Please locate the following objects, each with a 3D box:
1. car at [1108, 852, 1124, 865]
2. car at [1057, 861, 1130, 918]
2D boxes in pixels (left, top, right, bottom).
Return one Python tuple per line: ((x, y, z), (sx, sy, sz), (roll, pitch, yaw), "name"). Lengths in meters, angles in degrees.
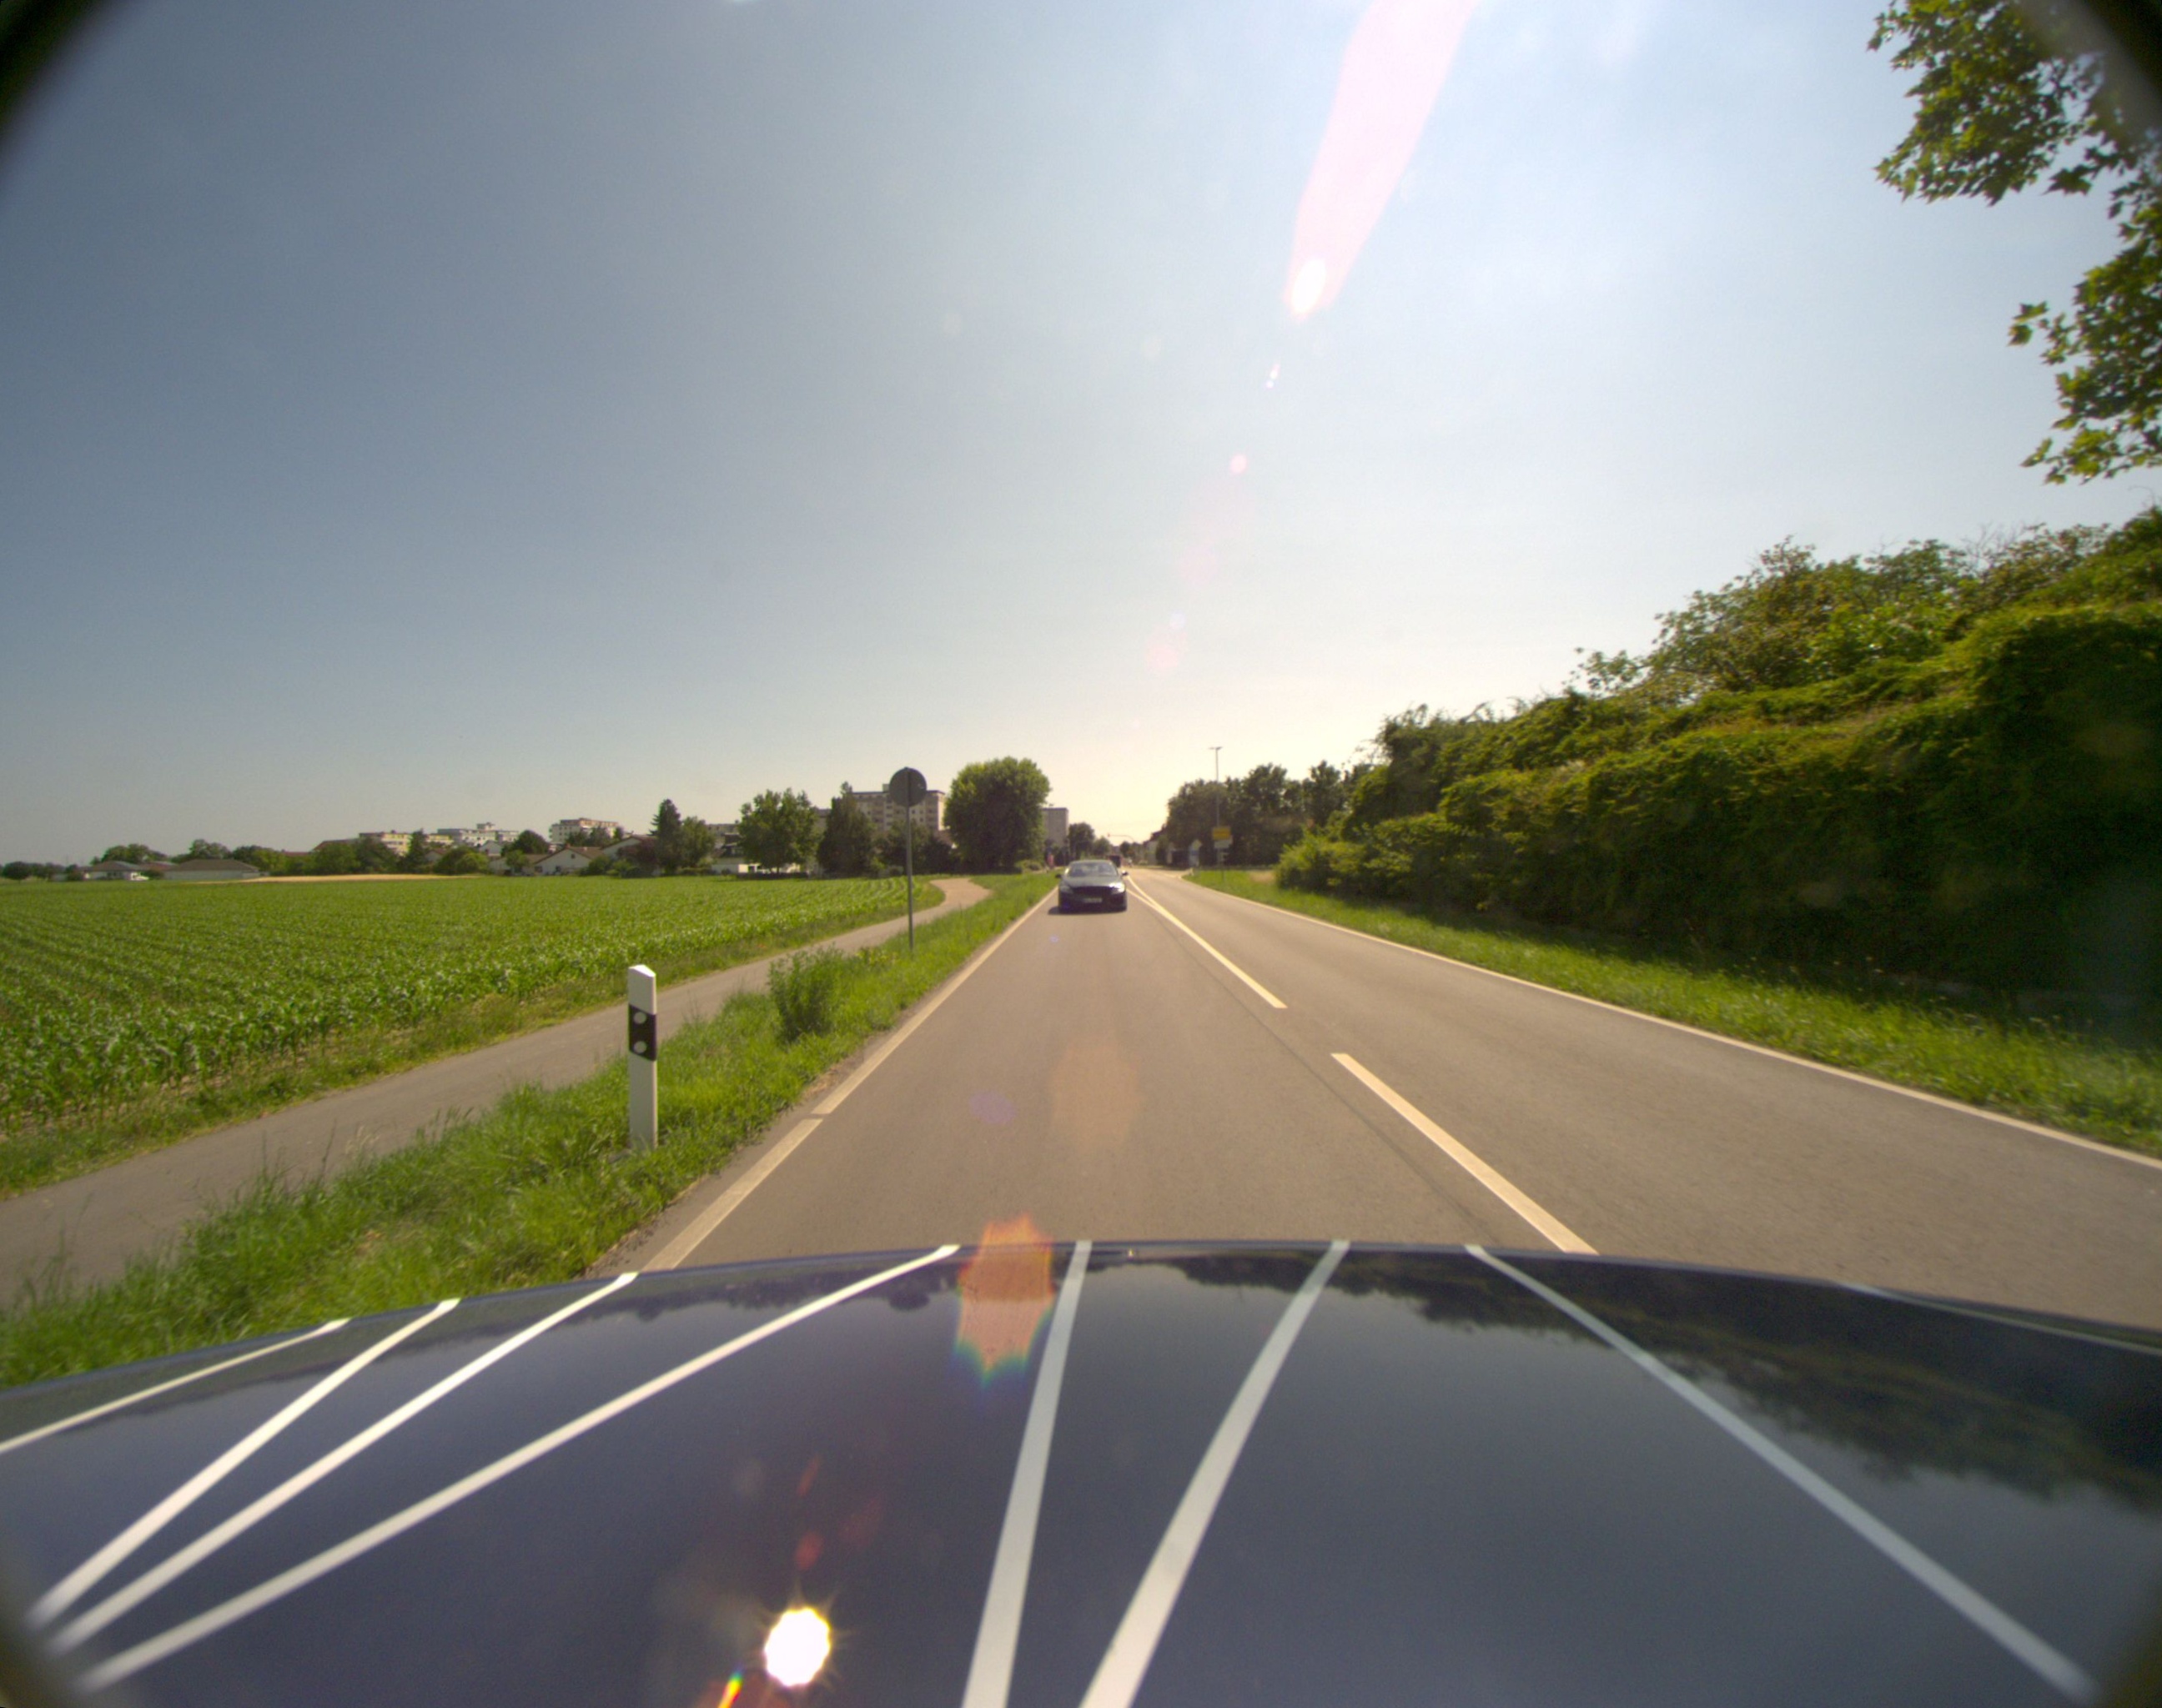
((5.241, 0.655, 114.288), (2.149, 1.940, 5.247), (0, 0, 1), "car")
((0.309, 0.955, 22.420), (1.889, 1.429, 4.838), (-2, 0, -1), "car")
